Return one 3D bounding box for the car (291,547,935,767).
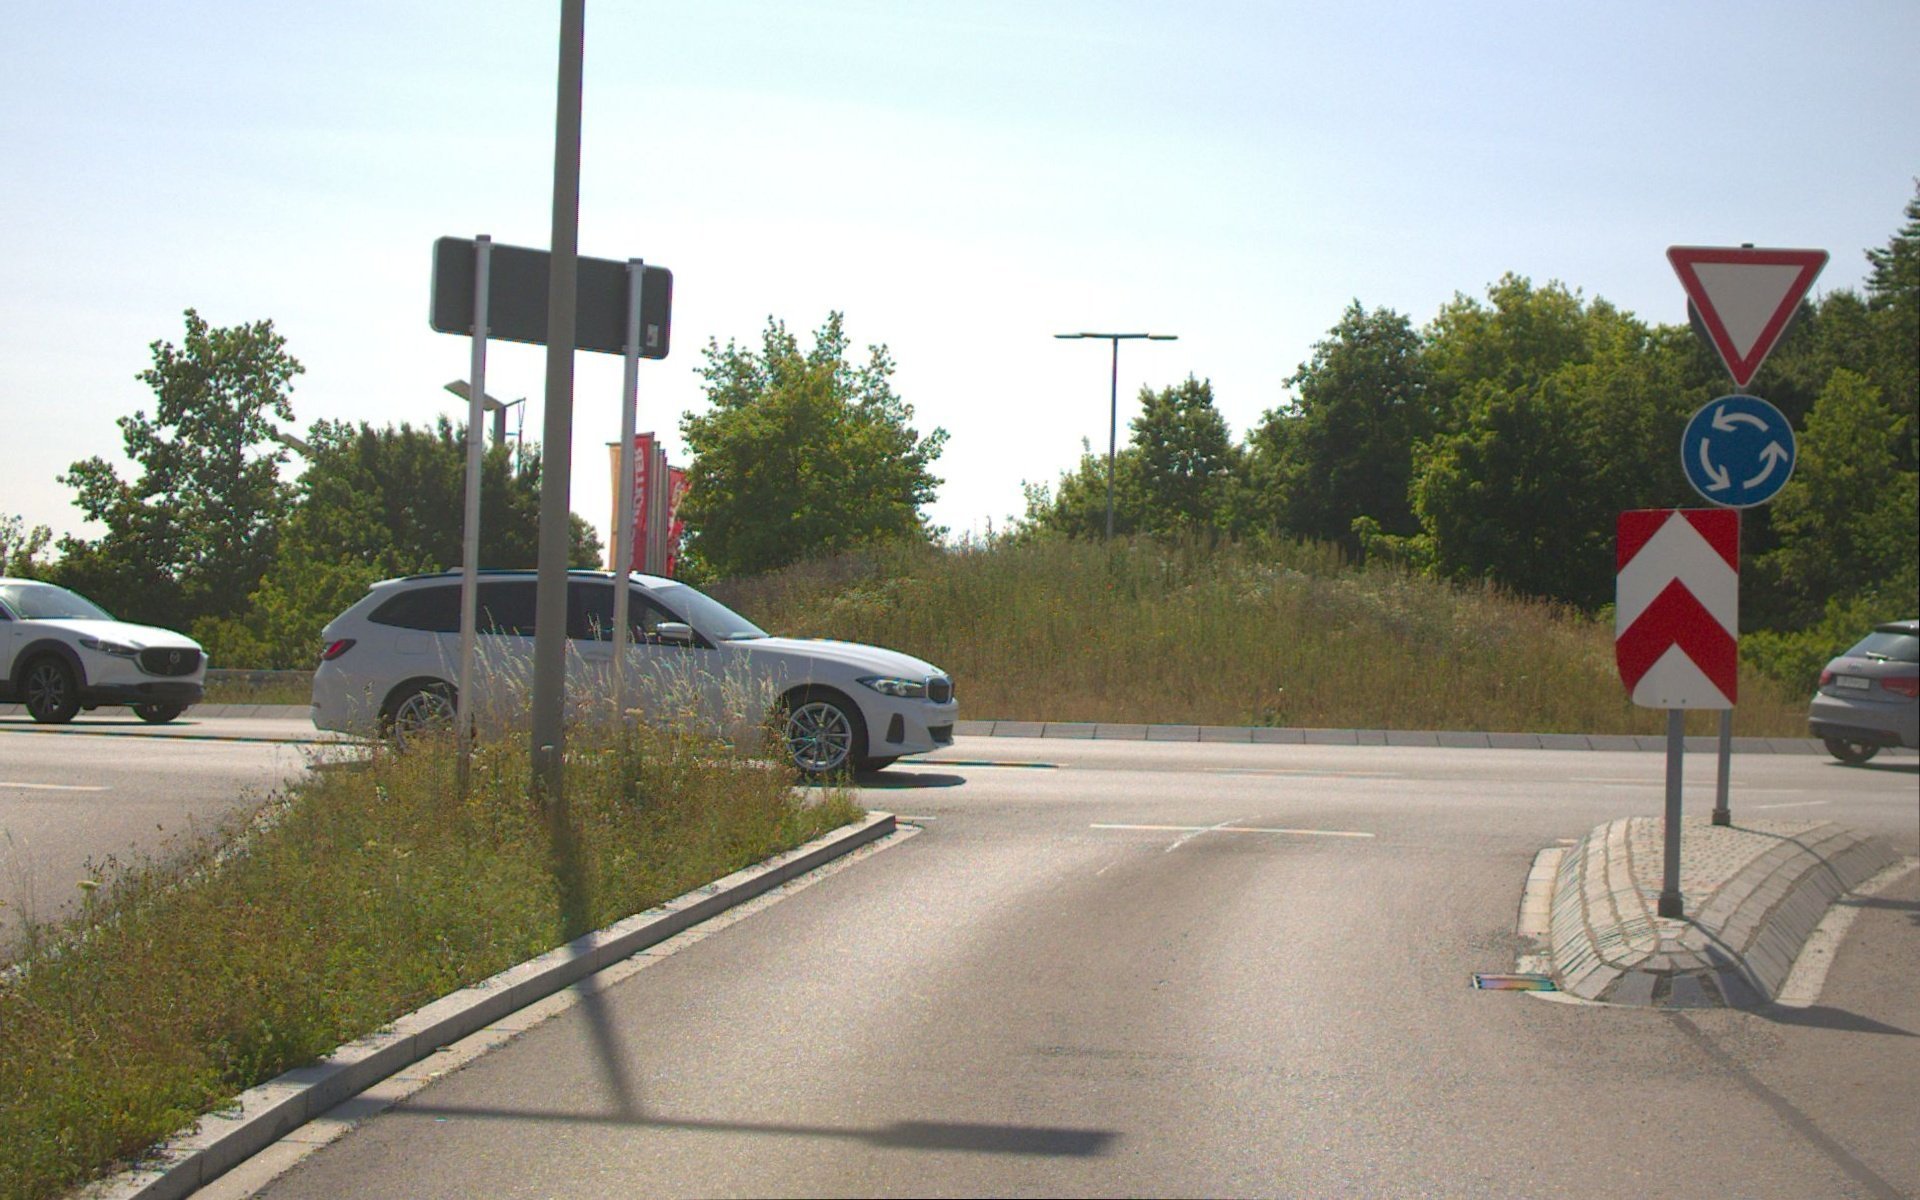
[{"bbox_3d":[-2.488,0.397,24.966,4.329,1.347,1.572,3,0,12],"label":"car"}]

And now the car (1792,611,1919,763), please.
[{"bbox_3d":[9.951,0.866,32.530,3.755,1.347,1.532,3,0,-19],"label":"car"}]

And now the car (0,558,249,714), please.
[{"bbox_3d":[-9.740,0.340,35.997,4.280,1.525,1.789,1,-1,27],"label":"car"}]
